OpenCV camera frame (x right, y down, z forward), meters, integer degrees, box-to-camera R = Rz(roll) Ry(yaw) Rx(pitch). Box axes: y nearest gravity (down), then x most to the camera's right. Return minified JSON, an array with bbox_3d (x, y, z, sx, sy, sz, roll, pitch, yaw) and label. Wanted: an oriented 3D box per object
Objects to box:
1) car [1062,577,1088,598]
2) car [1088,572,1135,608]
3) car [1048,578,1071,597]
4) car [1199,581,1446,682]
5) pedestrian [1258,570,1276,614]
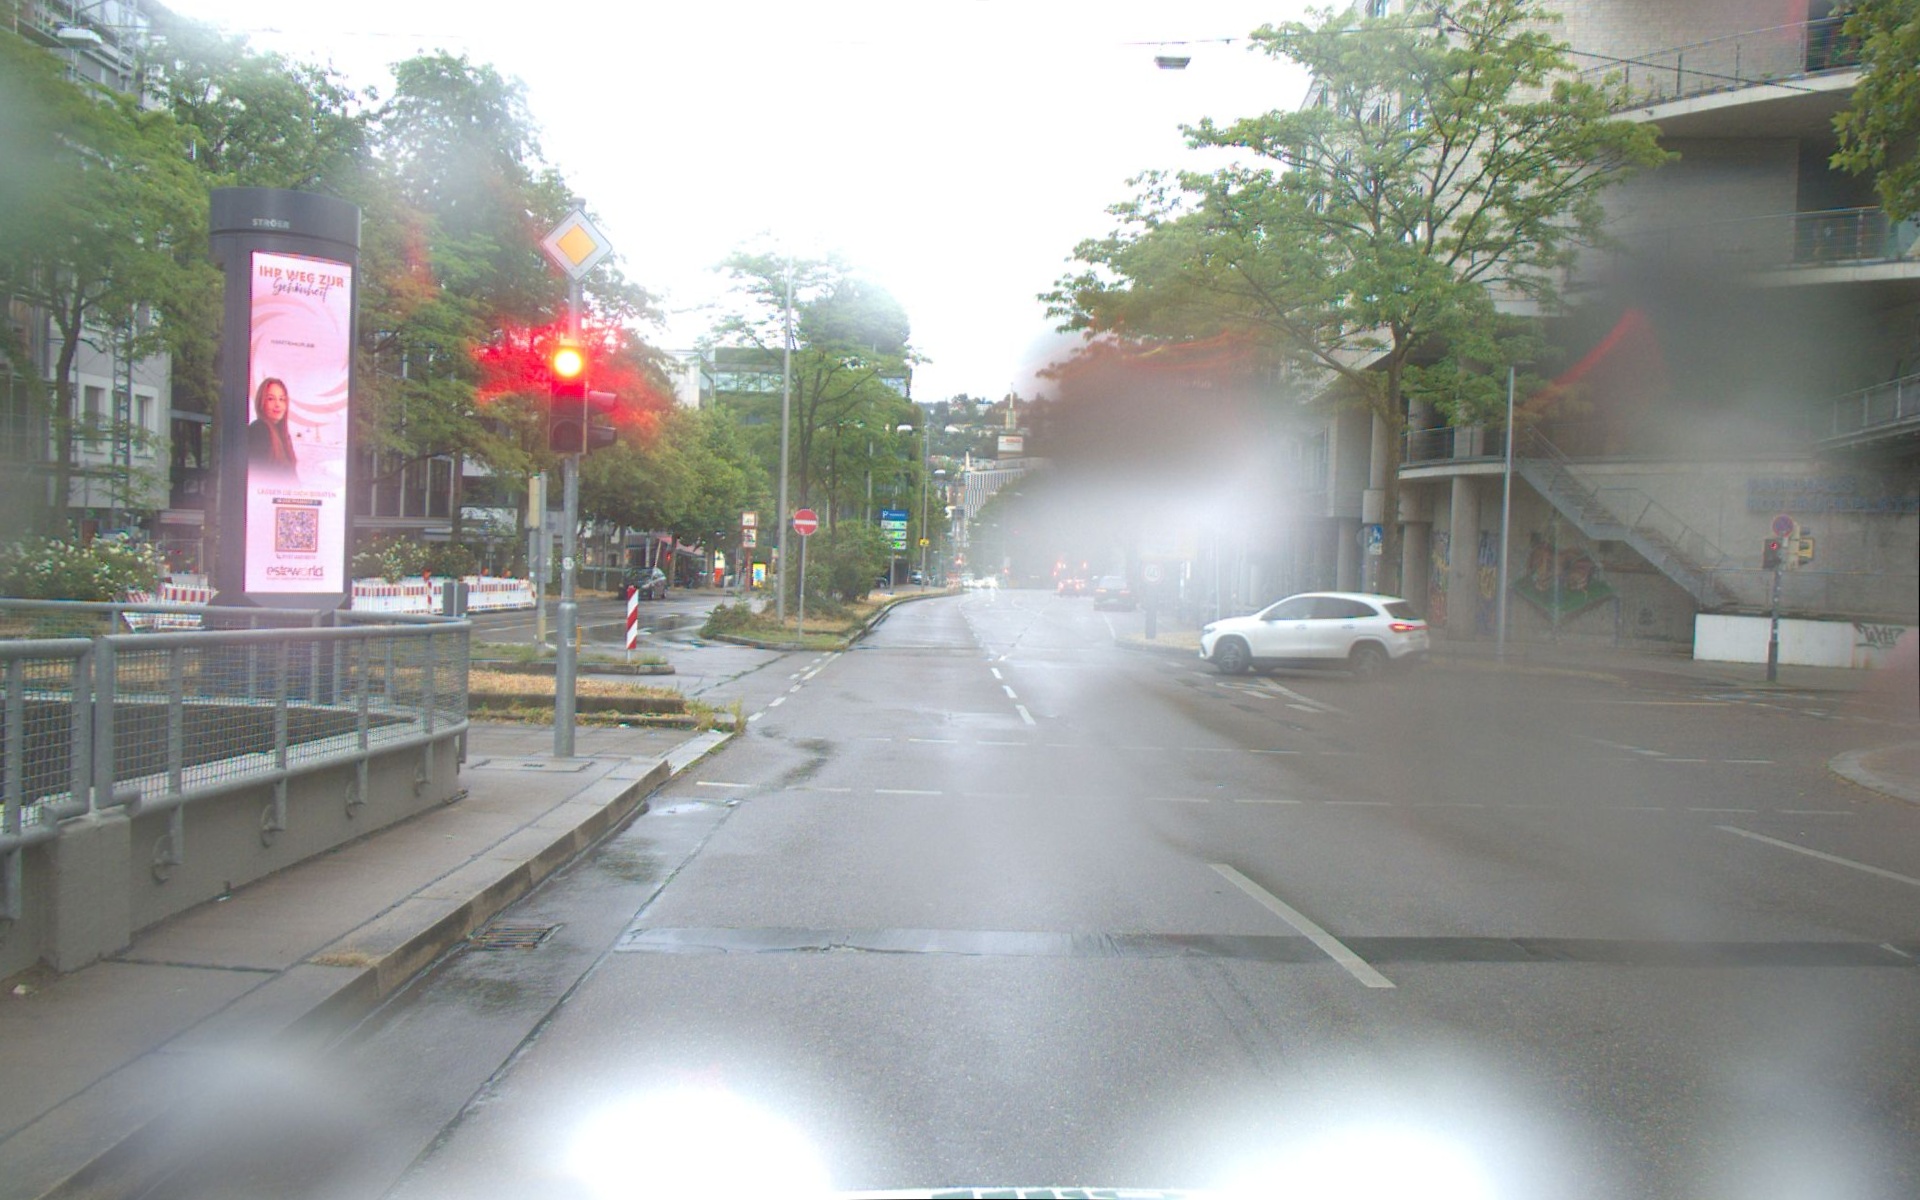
[{"bbox_3d":[10.294,-1.094,147.954,1.953,1.754,3.999,1,0,-2],"label":"car"},{"bbox_3d":[7.664,-0.529,83.549,2.288,1.720,4.003,1,1,6],"label":"car"},{"bbox_3d":[10.023,-1.245,166.973,1.953,1.766,3.999,1,0,-1],"label":"car"},{"bbox_3d":[6.885,0.577,31.533,4.208,1.668,1.831,3,0,31],"label":"car"},{"bbox_3d":[13.728,-0.368,74.042,0.759,1.954,0.703,1,-1,9],"label":"pedestrian"}]
